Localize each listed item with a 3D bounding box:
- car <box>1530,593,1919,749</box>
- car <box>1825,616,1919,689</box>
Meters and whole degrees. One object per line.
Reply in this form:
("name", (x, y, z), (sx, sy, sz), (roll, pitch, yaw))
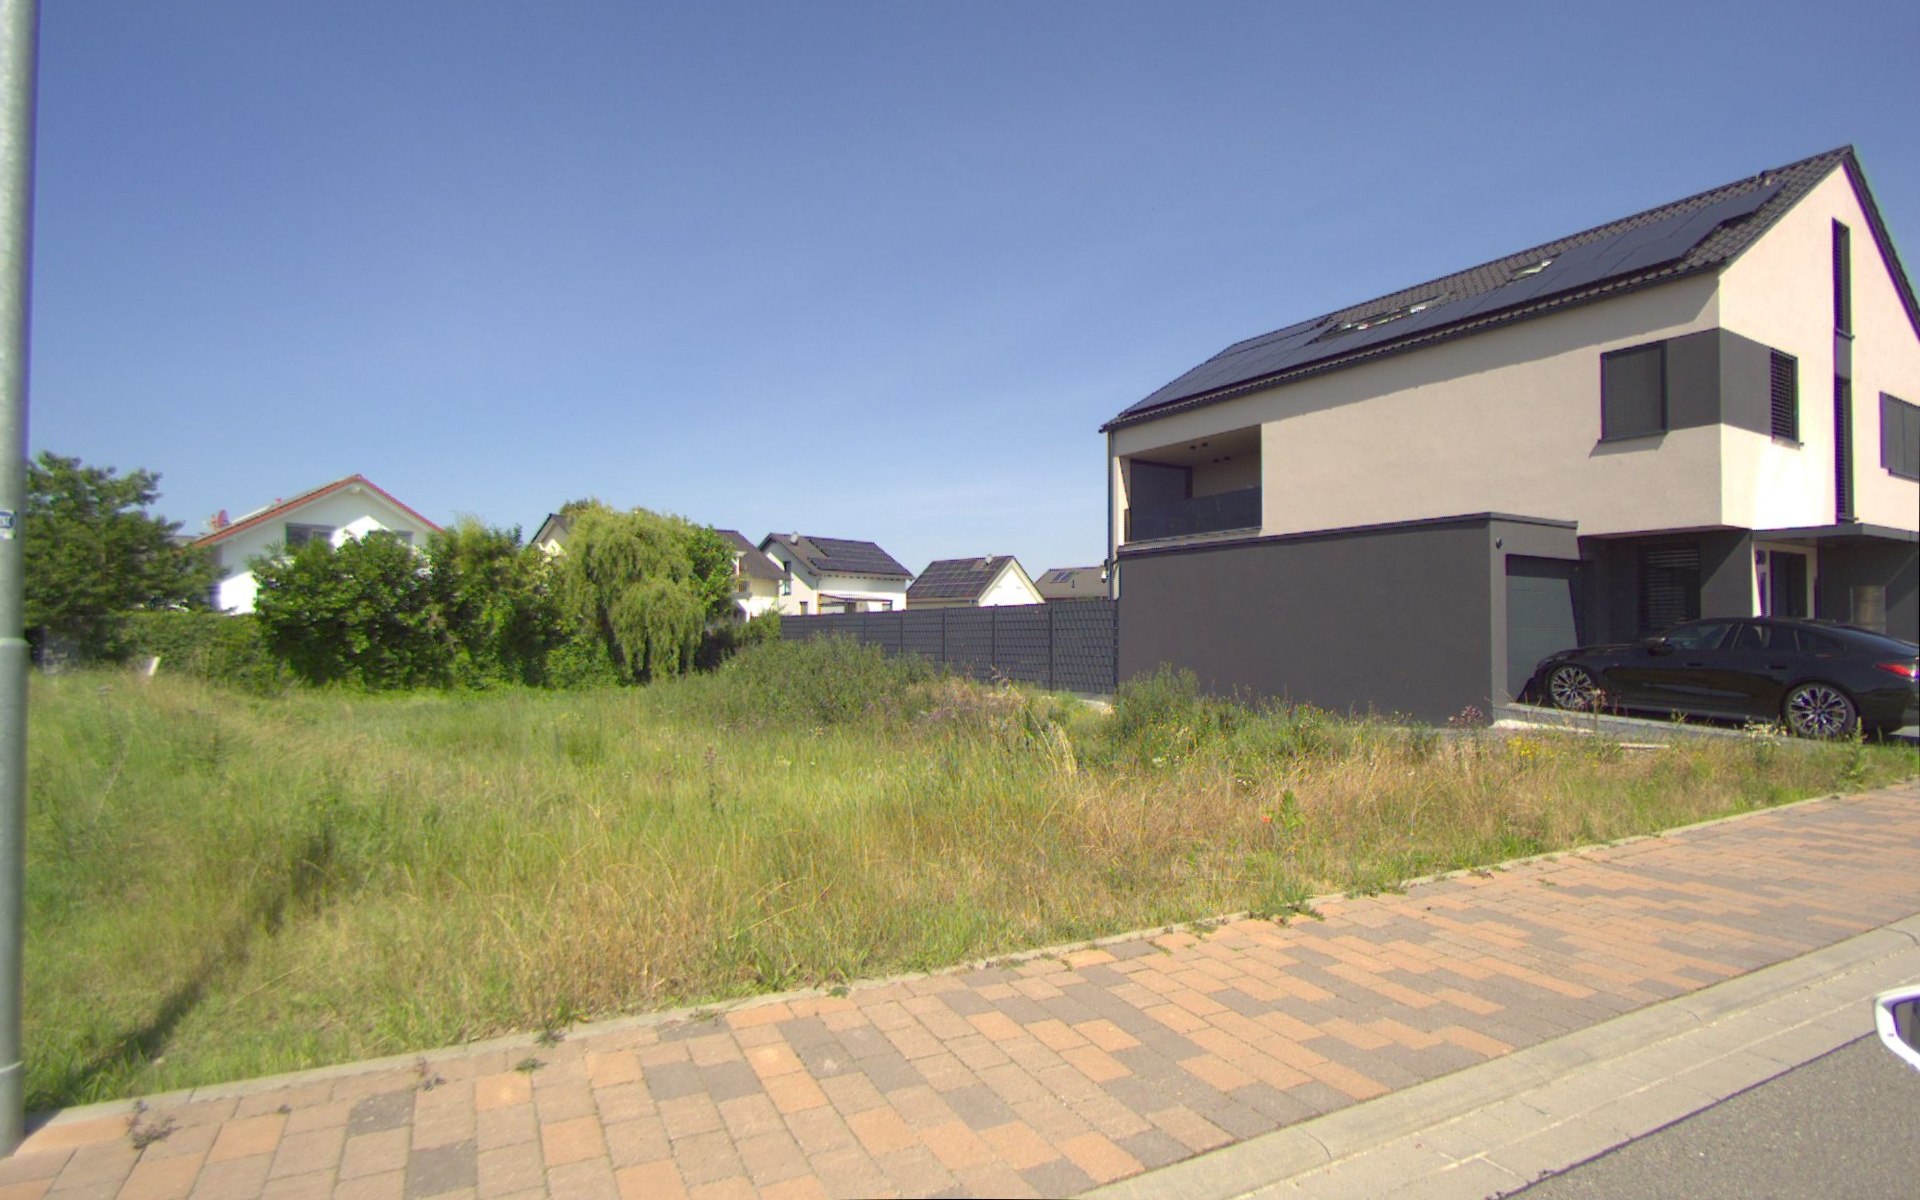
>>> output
("car", (10.203, 0.778, 13.258), (1.750, 1.653, 4.353), (1, 1, -31))
("car", (20.866, 1.099, 20.934), (1.733, 1.506, 3.970), (1, -1, -29))
